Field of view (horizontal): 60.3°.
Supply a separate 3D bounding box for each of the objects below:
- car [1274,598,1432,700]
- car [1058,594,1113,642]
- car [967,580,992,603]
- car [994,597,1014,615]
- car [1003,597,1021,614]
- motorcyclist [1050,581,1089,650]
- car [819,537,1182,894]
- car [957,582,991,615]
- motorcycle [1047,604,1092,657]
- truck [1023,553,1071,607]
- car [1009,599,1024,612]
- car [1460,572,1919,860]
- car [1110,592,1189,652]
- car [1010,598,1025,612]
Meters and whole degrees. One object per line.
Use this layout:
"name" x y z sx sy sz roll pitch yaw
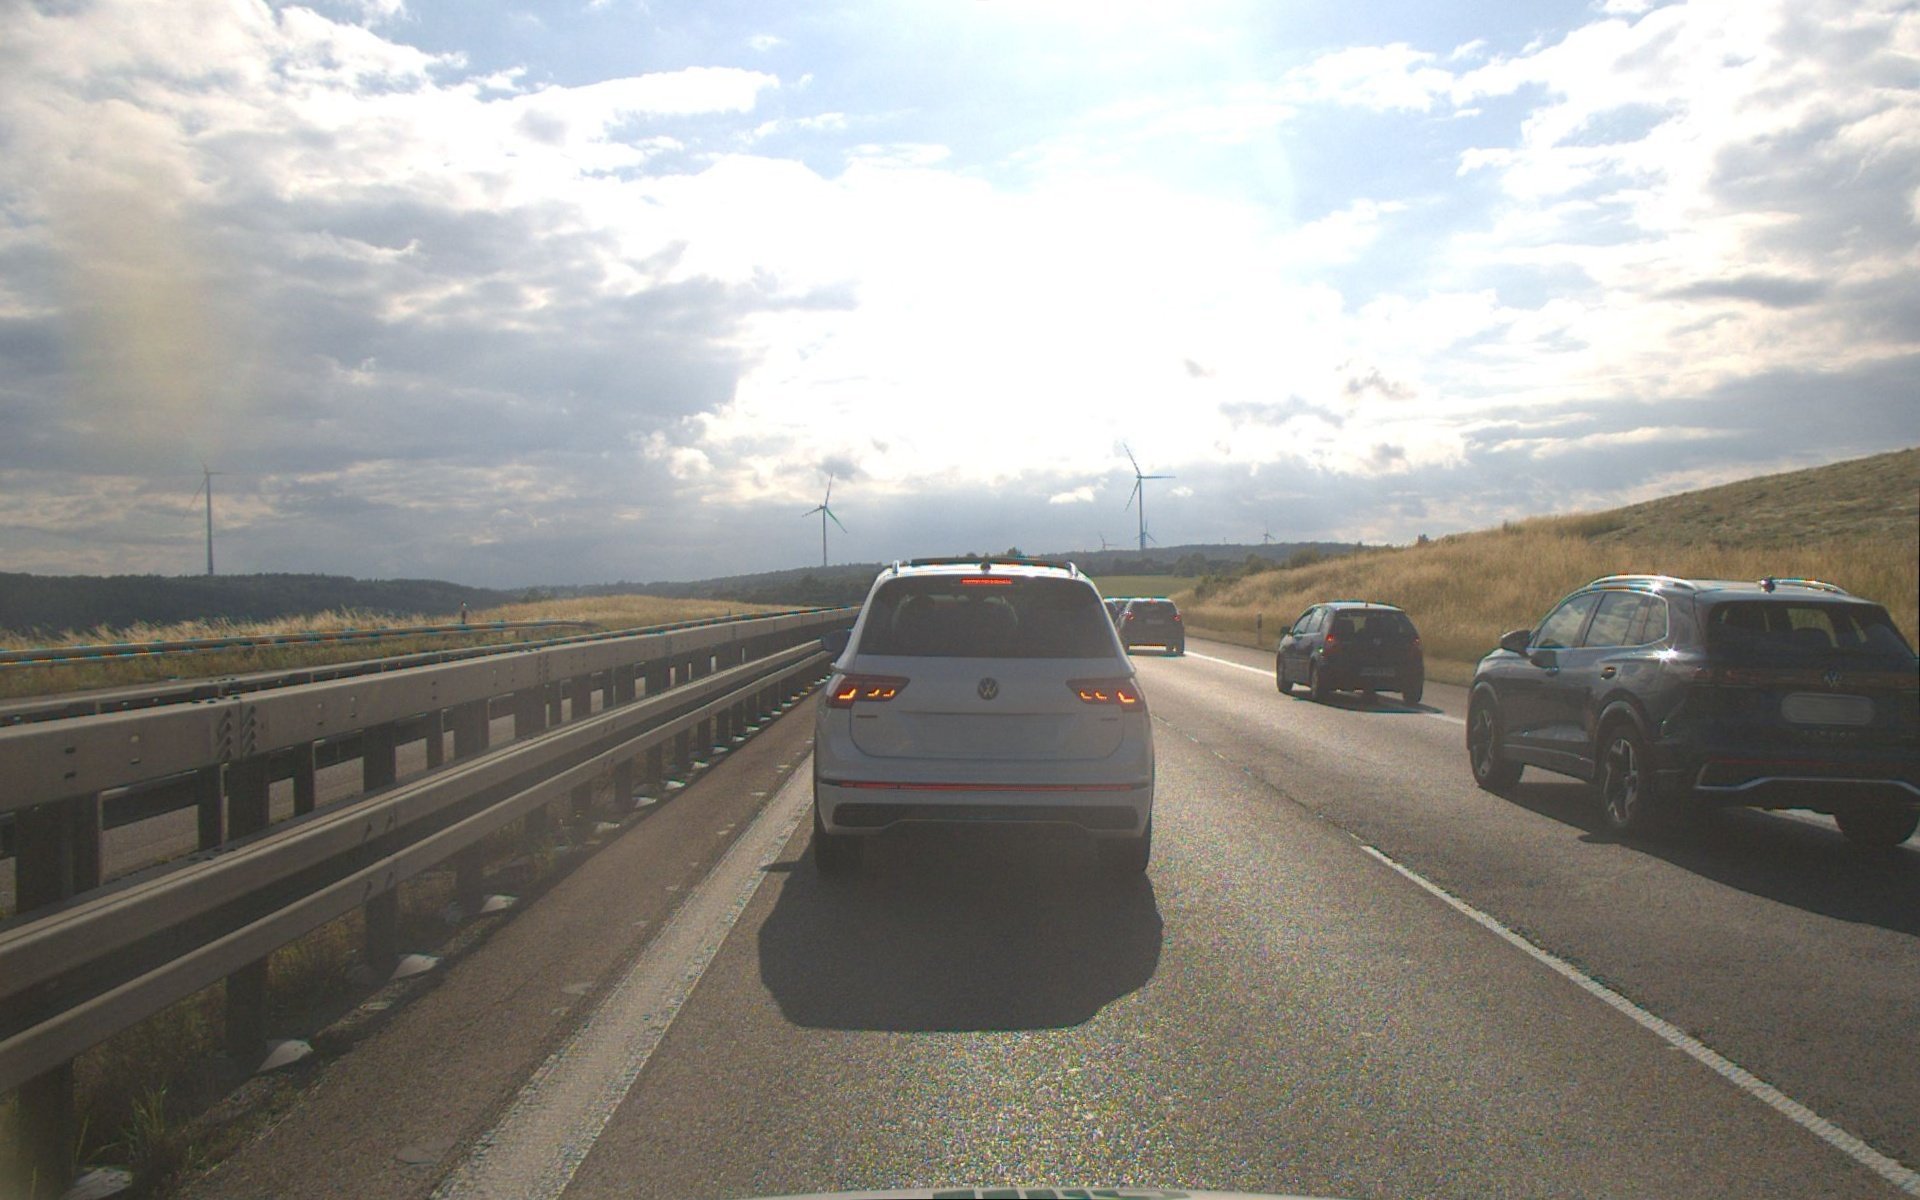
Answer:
"car" 5.973 0.706 25.523 1.573 1.445 3.672 0 0 0
"car" 4.531 0.643 60.084 1.669 1.679 3.999 0 0 -1
"car" 1.331 -0.599 116.206 1.669 1.573 3.999 0 0 -1
"car" 4.048 0.528 151.207 1.669 1.573 3.999 0 0 -1
"car" 5.096 0.536 162.785 1.669 1.573 3.999 0 0 -1
"motorcyclist" 2.577 0.364 39.013 0.832 1.587 0.934 0 0 -1
"car" 0.172 0.560 9.918 1.734 1.705 3.999 0 0 -1
"car" 0.715 -0.071 86.231 1.669 1.679 3.999 0 0 -1
"motorcycle" 2.573 0.701 39.054 0.877 1.211 2.256 0 0 -1
"truck" 6.114 -1.386 117.797 3.118 3.656 11.132 0 1 1
"car" 6.833 0.627 200.100 1.669 1.573 3.999 0 0 -1
"car" 5.107 0.684 11.696 1.784 1.629 4.234 2 0 -1
"car" 5.183 0.574 45.633 1.669 1.573 3.999 0 0 -1
"car" 6.725 0.611 193.610 1.669 1.573 3.999 0 0 -1
